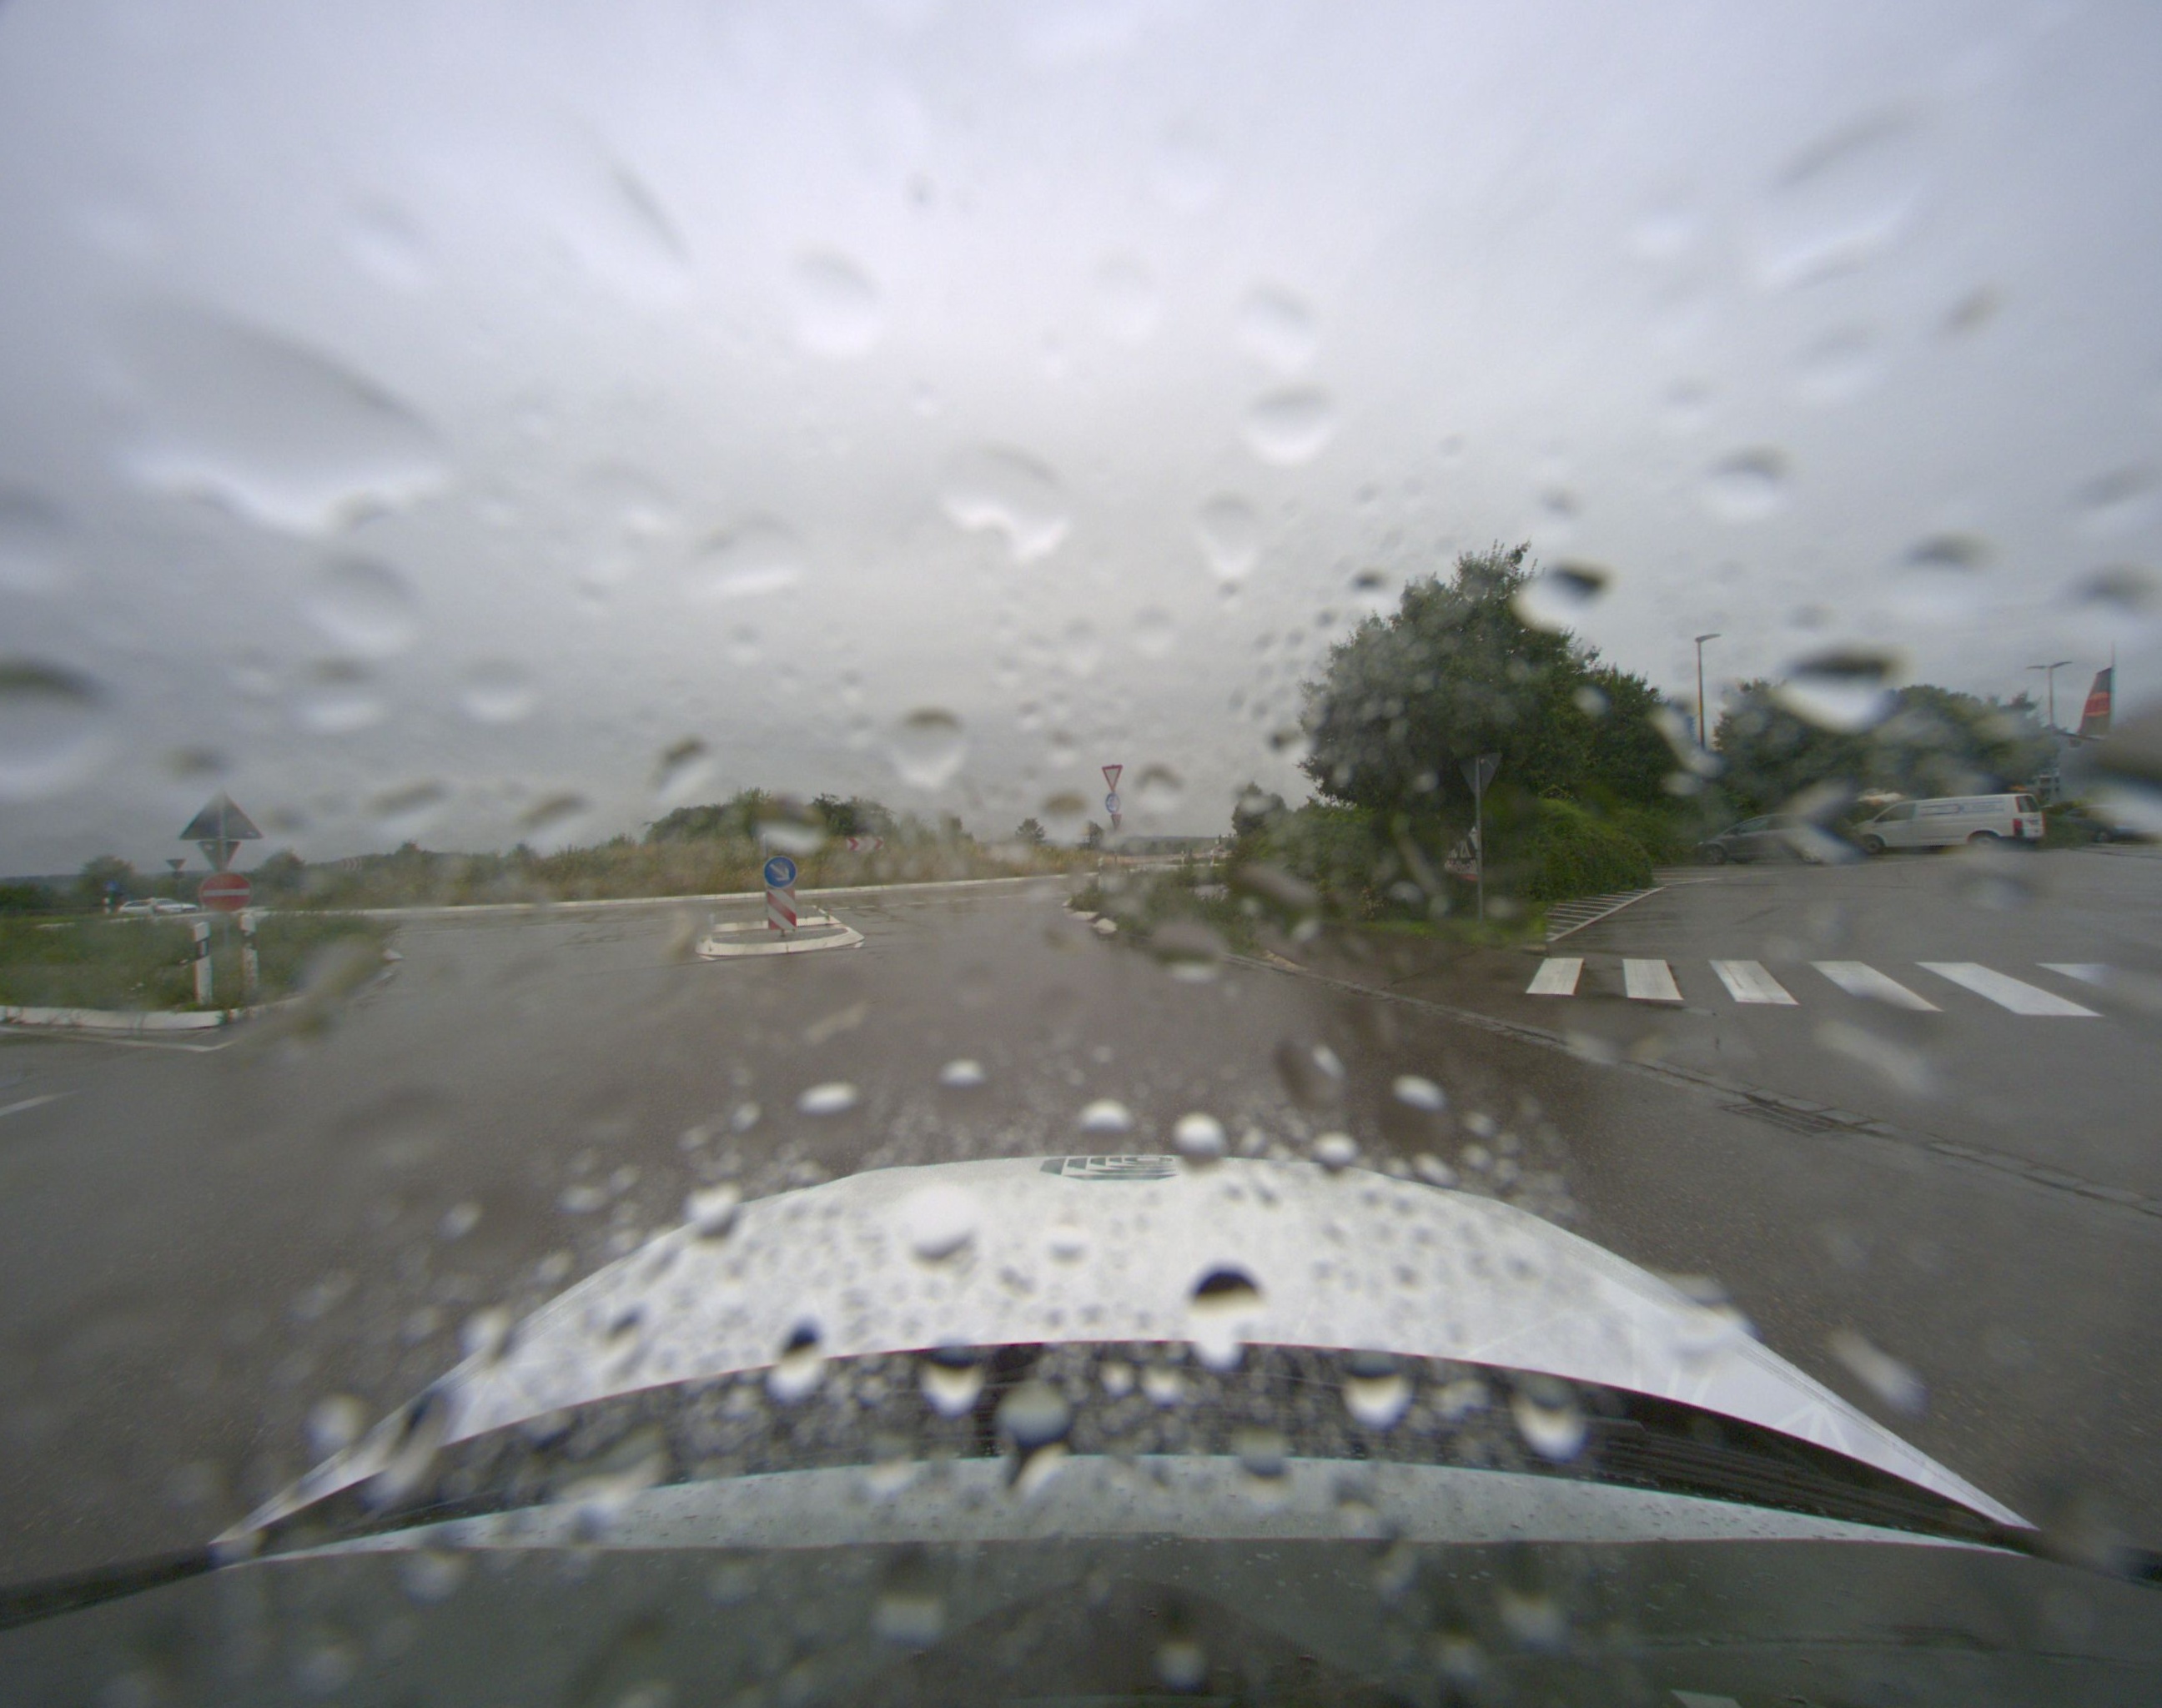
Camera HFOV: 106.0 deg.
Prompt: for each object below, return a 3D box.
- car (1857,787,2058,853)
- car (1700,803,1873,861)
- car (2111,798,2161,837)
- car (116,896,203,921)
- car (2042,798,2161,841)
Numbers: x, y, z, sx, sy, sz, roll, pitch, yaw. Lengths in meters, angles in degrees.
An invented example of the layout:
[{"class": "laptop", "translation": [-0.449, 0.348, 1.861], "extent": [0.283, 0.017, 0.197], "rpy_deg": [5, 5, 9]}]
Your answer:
[{"class": "car", "translation": [30.881, -1.146, 28.882], "extent": [1.647, 2.033, 4.499], "rpy_deg": [-3, 0, -24]}, {"class": "car", "translation": [21.623, -0.625, 25.134], "extent": [1.453, 1.551, 3.714], "rpy_deg": [-3, 0, -24]}, {"class": "car", "translation": [41.143, -1.416, 30.404], "extent": [1.567, 1.458, 3.699], "rpy_deg": [-3, 0, 20]}, {"class": "car", "translation": [-64.905, 3.824, 57.408], "extent": [4.288, 1.427, 1.653], "rpy_deg": [-3, 0, 2]}, {"class": "car", "translation": [38.354, -1.265, 30.379], "extent": [1.538, 1.458, 3.699], "rpy_deg": [-3, 0, 20]}]
